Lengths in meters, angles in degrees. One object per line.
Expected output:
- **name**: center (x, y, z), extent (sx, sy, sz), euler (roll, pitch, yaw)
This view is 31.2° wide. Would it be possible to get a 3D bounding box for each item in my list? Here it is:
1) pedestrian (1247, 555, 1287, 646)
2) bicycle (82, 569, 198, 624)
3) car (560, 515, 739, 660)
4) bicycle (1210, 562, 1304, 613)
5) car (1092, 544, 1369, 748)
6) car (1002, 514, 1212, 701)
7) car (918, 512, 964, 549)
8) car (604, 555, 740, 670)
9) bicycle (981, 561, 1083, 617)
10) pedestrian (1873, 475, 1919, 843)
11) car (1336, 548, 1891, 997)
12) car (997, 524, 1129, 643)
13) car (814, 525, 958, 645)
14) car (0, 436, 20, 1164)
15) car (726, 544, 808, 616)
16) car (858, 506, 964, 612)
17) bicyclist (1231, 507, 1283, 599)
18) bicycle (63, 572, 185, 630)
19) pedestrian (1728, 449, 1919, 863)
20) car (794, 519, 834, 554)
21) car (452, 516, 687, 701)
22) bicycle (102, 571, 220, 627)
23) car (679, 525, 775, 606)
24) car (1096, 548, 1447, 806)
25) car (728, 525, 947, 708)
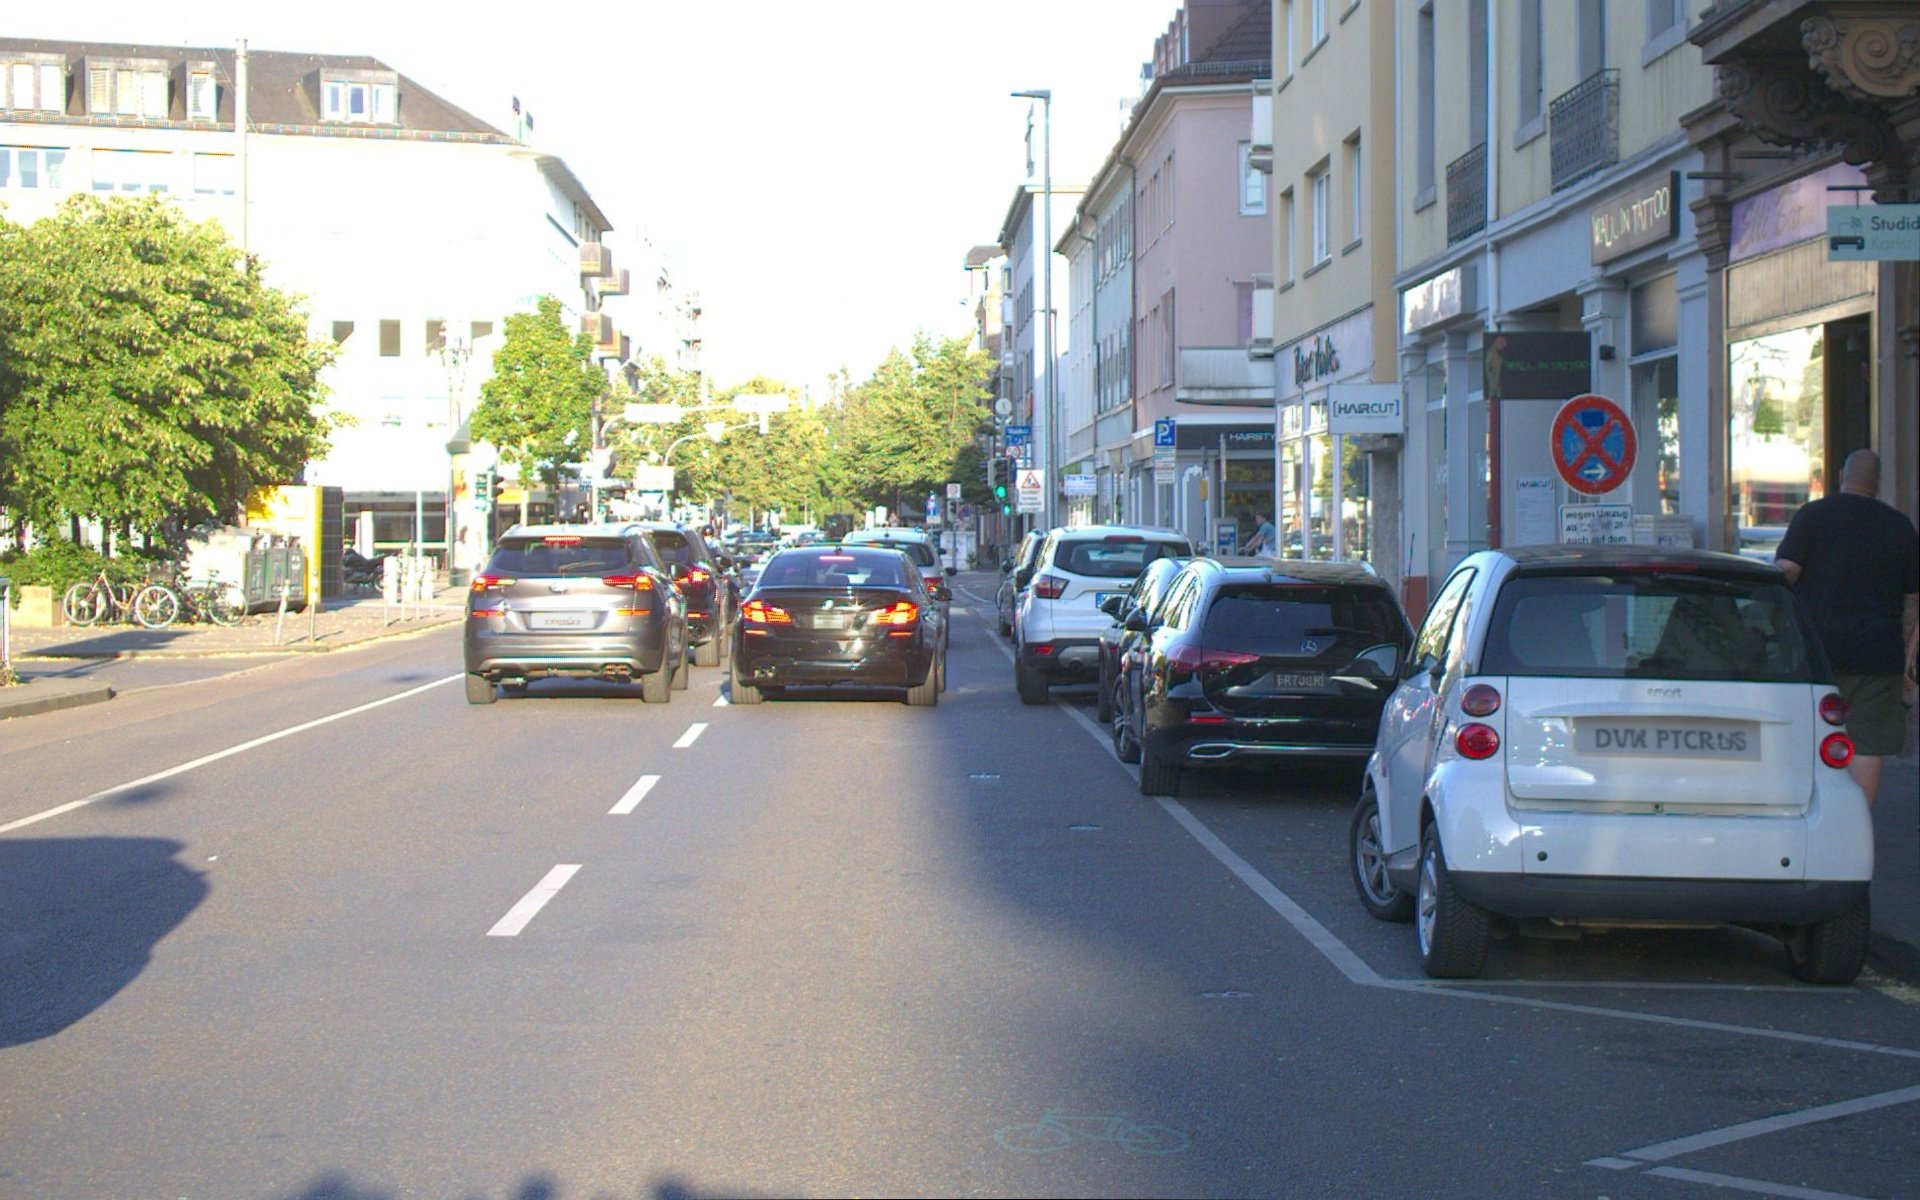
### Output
- **pedestrian**: center (6.143, 0.005, 68.801), extent (0.699, 1.805, 0.635), euler (0, 1, -5)
- **bicycle**: center (-13.911, -0.057, 58.338), extent (1.825, 0.850, 0.484), euler (3, 1, -5)
- **car**: center (-3.649, -0.184, 40.965), extent (1.896, 1.644, 4.105), euler (0, 1, -2)
- **bicycle**: center (5.780, -0.244, 66.962), extent (1.768, 0.963, 0.490), euler (1, 1, 26)
- **car**: center (2.055, 0.306, 27.278), extent (1.729, 1.443, 4.474), euler (2, 1, -1)
- **car**: center (1.357, 0.037, 33.201), extent (1.729, 1.645, 4.285), euler (2, 1, -1)
- **car**: center (-0.856, -3.083, 151.662), extent (1.896, 1.575, 3.852), euler (-2, 2, -2)
- **car**: center (-4.117, 0.153, 49.616), extent (1.779, 1.542, 4.001), euler (0, 1, -2)
- **bicycle**: center (1.273, -0.200, 60.652), extent (1.766, 0.963, 0.490), euler (1, 1, 4)
- **pedestrian**: center (4.806, 0.260, 15.989), extent (0.772, 1.705, 1.042), euler (-2, 1, -2)
- **car**: center (2.437, 0.576, 13.520), extent (1.532, 1.531, 3.283), euler (1, 1, 0)
- **car**: center (1.478, -0.261, 50.693), extent (1.729, 1.646, 3.970), euler (2, 1, -1)
- **car**: center (-1.061, -0.241, 48.236), extent (1.896, 1.575, 4.001), euler (1, 1, -2)
- **car**: center (-4.717, 0.506, 8.241), extent (4.450, 1.755, 2.000), euler (-1, 1, -25)
- **car**: center (-4.342, -0.467, 77.687), extent (1.779, 1.542, 4.001), euler (0, 1, -2)
- **car**: center (-0.977, -0.848, 69.214), extent (1.993, 2.007, 4.000), euler (2, 1, -1)
- **bicyclist**: center (5.777, -0.925, 66.938), extent (0.832, 1.771, 0.608), euler (1, 1, 26)
- **bicycle**: center (-13.522, 0.017, 55.630), extent (1.825, 0.850, 0.484), euler (3, 1, -5)
- **pedestrian**: center (4.073, 0.234, 15.814), extent (0.772, 1.821, 1.011), euler (-2, 1, -2)
- **car**: center (-6.605, -2.871, 155.668), extent (1.779, 1.542, 4.001), euler (0, 1, -2)
- **car**: center (-3.648, 0.030, 32.742), extent (1.896, 1.644, 4.105), euler (0, 1, -2)
- **bicycle**: center (-13.345, -0.016, 57.436), extent (1.825, 0.850, 0.484), euler (3, 1, -5)
- **car**: center (-4.577, -0.701, 67.841), extent (1.779, 1.542, 4.001), euler (0, 1, -2)
- **car**: center (1.890, 0.415, 22.126), extent (1.729, 1.443, 4.525), euler (2, 1, -1)
- **car**: center (-1.150, 0.103, 32.329), extent (1.896, 1.575, 4.001), euler (1, 1, -2)
